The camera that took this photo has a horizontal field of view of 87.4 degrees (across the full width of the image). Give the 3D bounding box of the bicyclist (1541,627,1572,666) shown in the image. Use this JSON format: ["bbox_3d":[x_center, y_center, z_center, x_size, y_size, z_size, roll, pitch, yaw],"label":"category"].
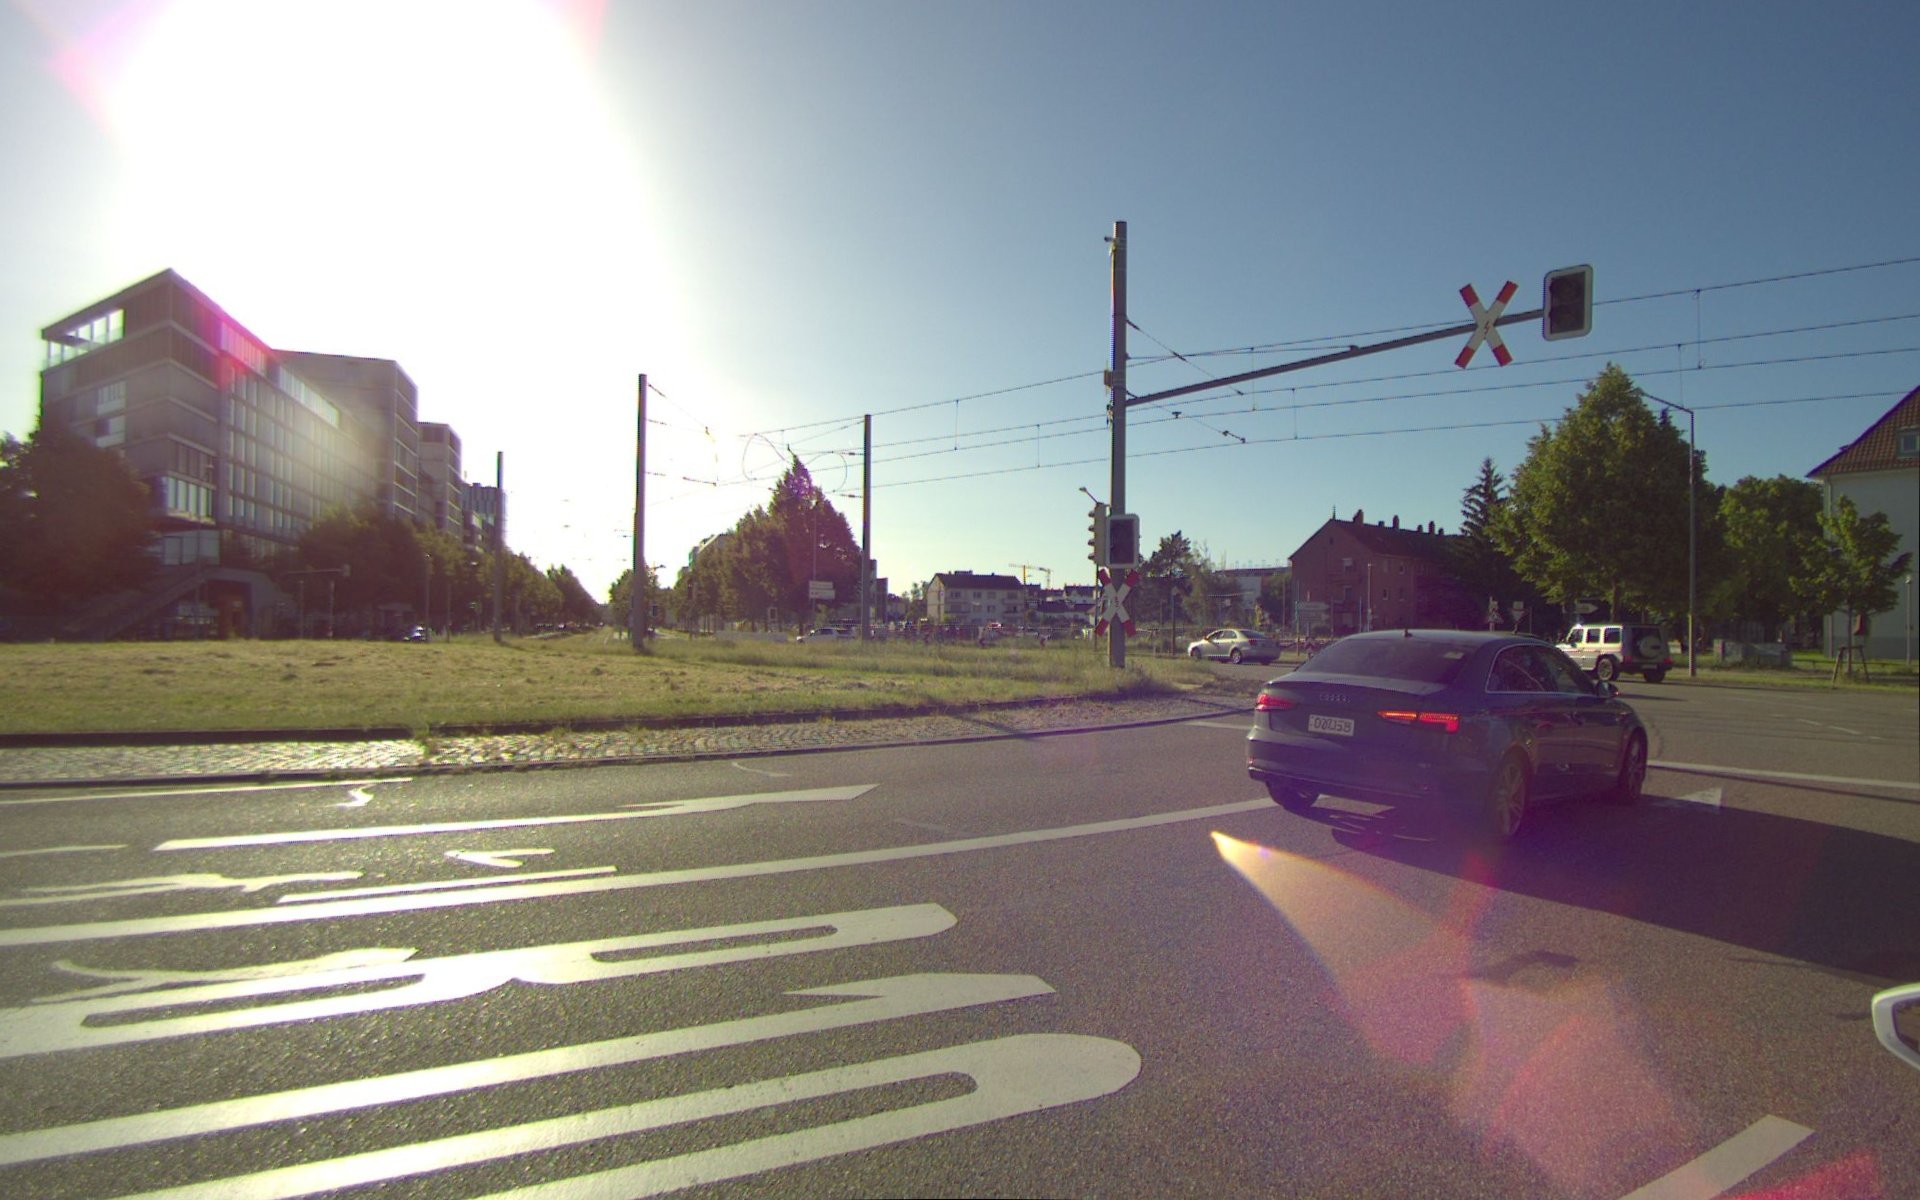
[{"bbox_3d":[29.663,2.318,49.939,0.801,1.876,1.020,3,-2,-22],"label":"bicyclist"}]

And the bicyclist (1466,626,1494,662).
[{"bbox_3d":[28.045,2.381,54.177,0.875,1.876,1.017,3,-2,-31],"label":"bicyclist"}]

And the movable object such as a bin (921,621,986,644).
[{"bbox_3d":[-0.863,4.163,129.419,7.804,2.819,2.933,1,-1,-17],"label":"movable object such as a bin"}]

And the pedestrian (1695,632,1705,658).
[{"bbox_3d":[57.468,3.481,78.014,0.449,2.040,0.468,1,-1,-30],"label":"pedestrian"}]

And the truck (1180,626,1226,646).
[{"bbox_3d":[27.431,4.039,113.693,2.136,2.040,6.415,3,-2,-16],"label":"truck"}]

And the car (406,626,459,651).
[{"bbox_3d":[-40.384,2.942,76.994,1.739,1.808,3.920,1,-1,3],"label":"car"}]

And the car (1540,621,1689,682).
[{"bbox_3d":[22.551,1.754,34.870,1.964,1.922,4.752,1,-2,-2],"label":"car"}]

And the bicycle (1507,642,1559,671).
[{"bbox_3d":[28.421,2.792,49.878,0.806,1.282,2.198,3,-2,-22],"label":"bicycle"}]

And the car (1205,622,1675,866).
[{"bbox_3d":[4.011,0.913,8.053,4.322,1.398,1.746,1,0,-40],"label":"car"}]

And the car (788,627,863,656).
[{"bbox_3d":[-8.188,2.506,60.974,4.336,1.661,1.993,0,-1,36],"label":"car"}]

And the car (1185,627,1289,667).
[{"bbox_3d":[11.762,1.969,42.929,1.972,1.596,4.382,1,-1,-24],"label":"car"}]

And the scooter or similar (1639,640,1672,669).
[{"bbox_3d":[31.644,2.465,45.712,0.437,1.264,1.261,3,-3,-16],"label":"scooter or similar"}]

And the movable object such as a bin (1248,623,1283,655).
[{"bbox_3d":[28.514,3.624,93.894,2.378,2.809,4.003,2,-2,7],"label":"movable object such as a bin"}]

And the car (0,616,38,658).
[{"bbox_3d":[-43.259,1.574,43.069,2.412,1.808,5.018,1,-1,11],"label":"car"}]

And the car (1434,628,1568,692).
[{"bbox_3d":[14.268,1.529,26.748,1.772,1.480,3.812,2,-1,6],"label":"car"}]
